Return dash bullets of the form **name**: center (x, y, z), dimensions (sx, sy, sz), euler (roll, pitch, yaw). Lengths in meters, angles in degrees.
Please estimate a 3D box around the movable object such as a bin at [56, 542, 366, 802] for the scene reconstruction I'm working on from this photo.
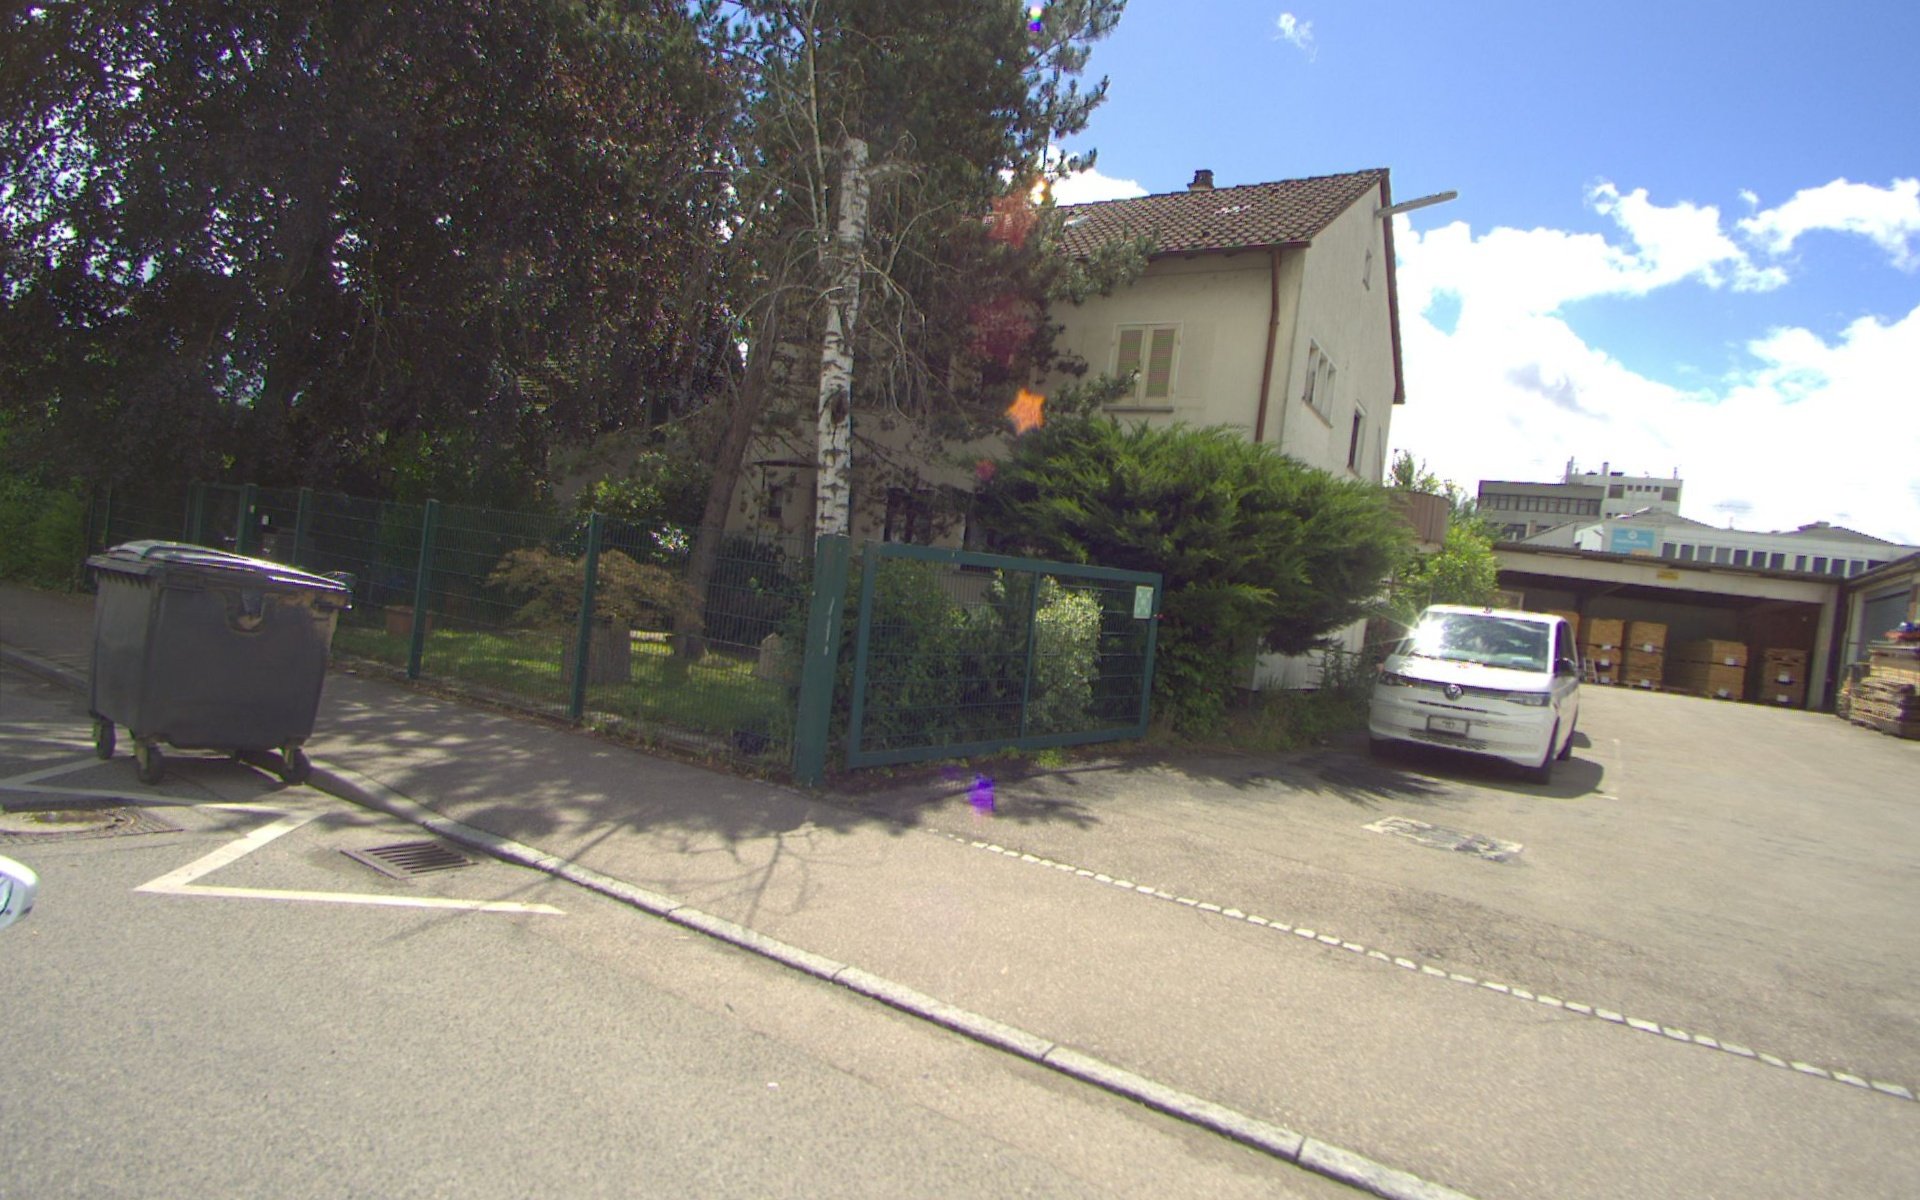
- **movable object such as a bin**: center (-4.588, 0.393, 6.171), dimensions (1.336, 1.308, 1.113), euler (7, 1, 36)

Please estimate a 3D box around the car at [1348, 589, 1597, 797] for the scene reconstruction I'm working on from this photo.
- **car**: center (6.662, 1.077, 12.735), dimensions (1.968, 1.911, 4.910), euler (8, 1, 35)

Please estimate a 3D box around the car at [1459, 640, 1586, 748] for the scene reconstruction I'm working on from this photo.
- **car**: center (10.111, 1.601, 18.045), dimensions (1.649, 1.522, 4.025), euler (7, 1, 31)
